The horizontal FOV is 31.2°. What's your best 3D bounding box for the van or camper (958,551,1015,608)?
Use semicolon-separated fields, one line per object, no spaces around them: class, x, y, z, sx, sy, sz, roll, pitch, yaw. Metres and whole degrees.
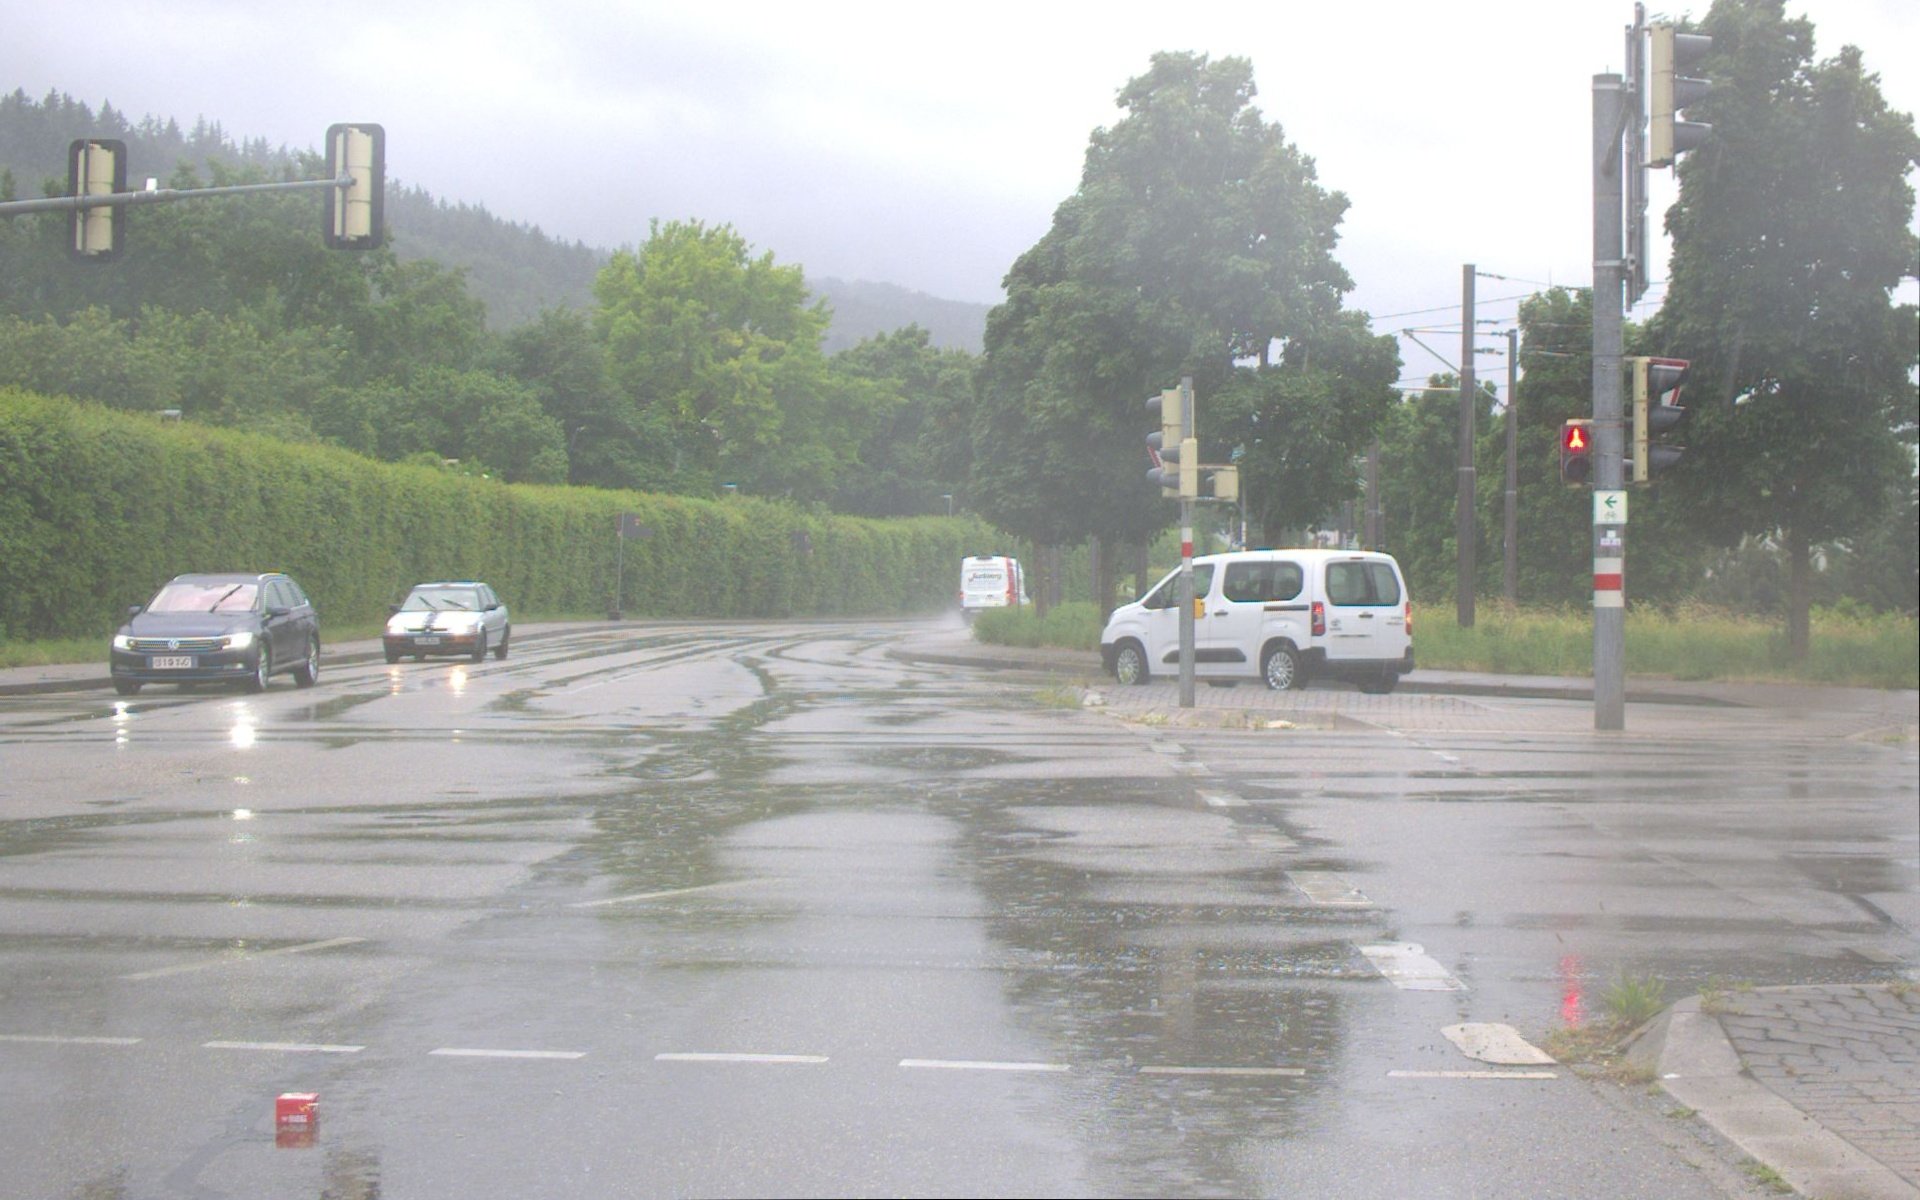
van or camper;1.031;-0.812;135.286;2.153;2.162;4.865;1;1;0

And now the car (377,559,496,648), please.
car;-9.114;0.041;60.043;1.558;1.476;3.361;1;1;0

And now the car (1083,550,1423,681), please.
car;3.633;0.153;43.299;1.817;1.548;4.347;-1;1;-38

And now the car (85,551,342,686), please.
car;-9.388;0.193;43.625;1.879;1.568;4.644;-2;1;5
